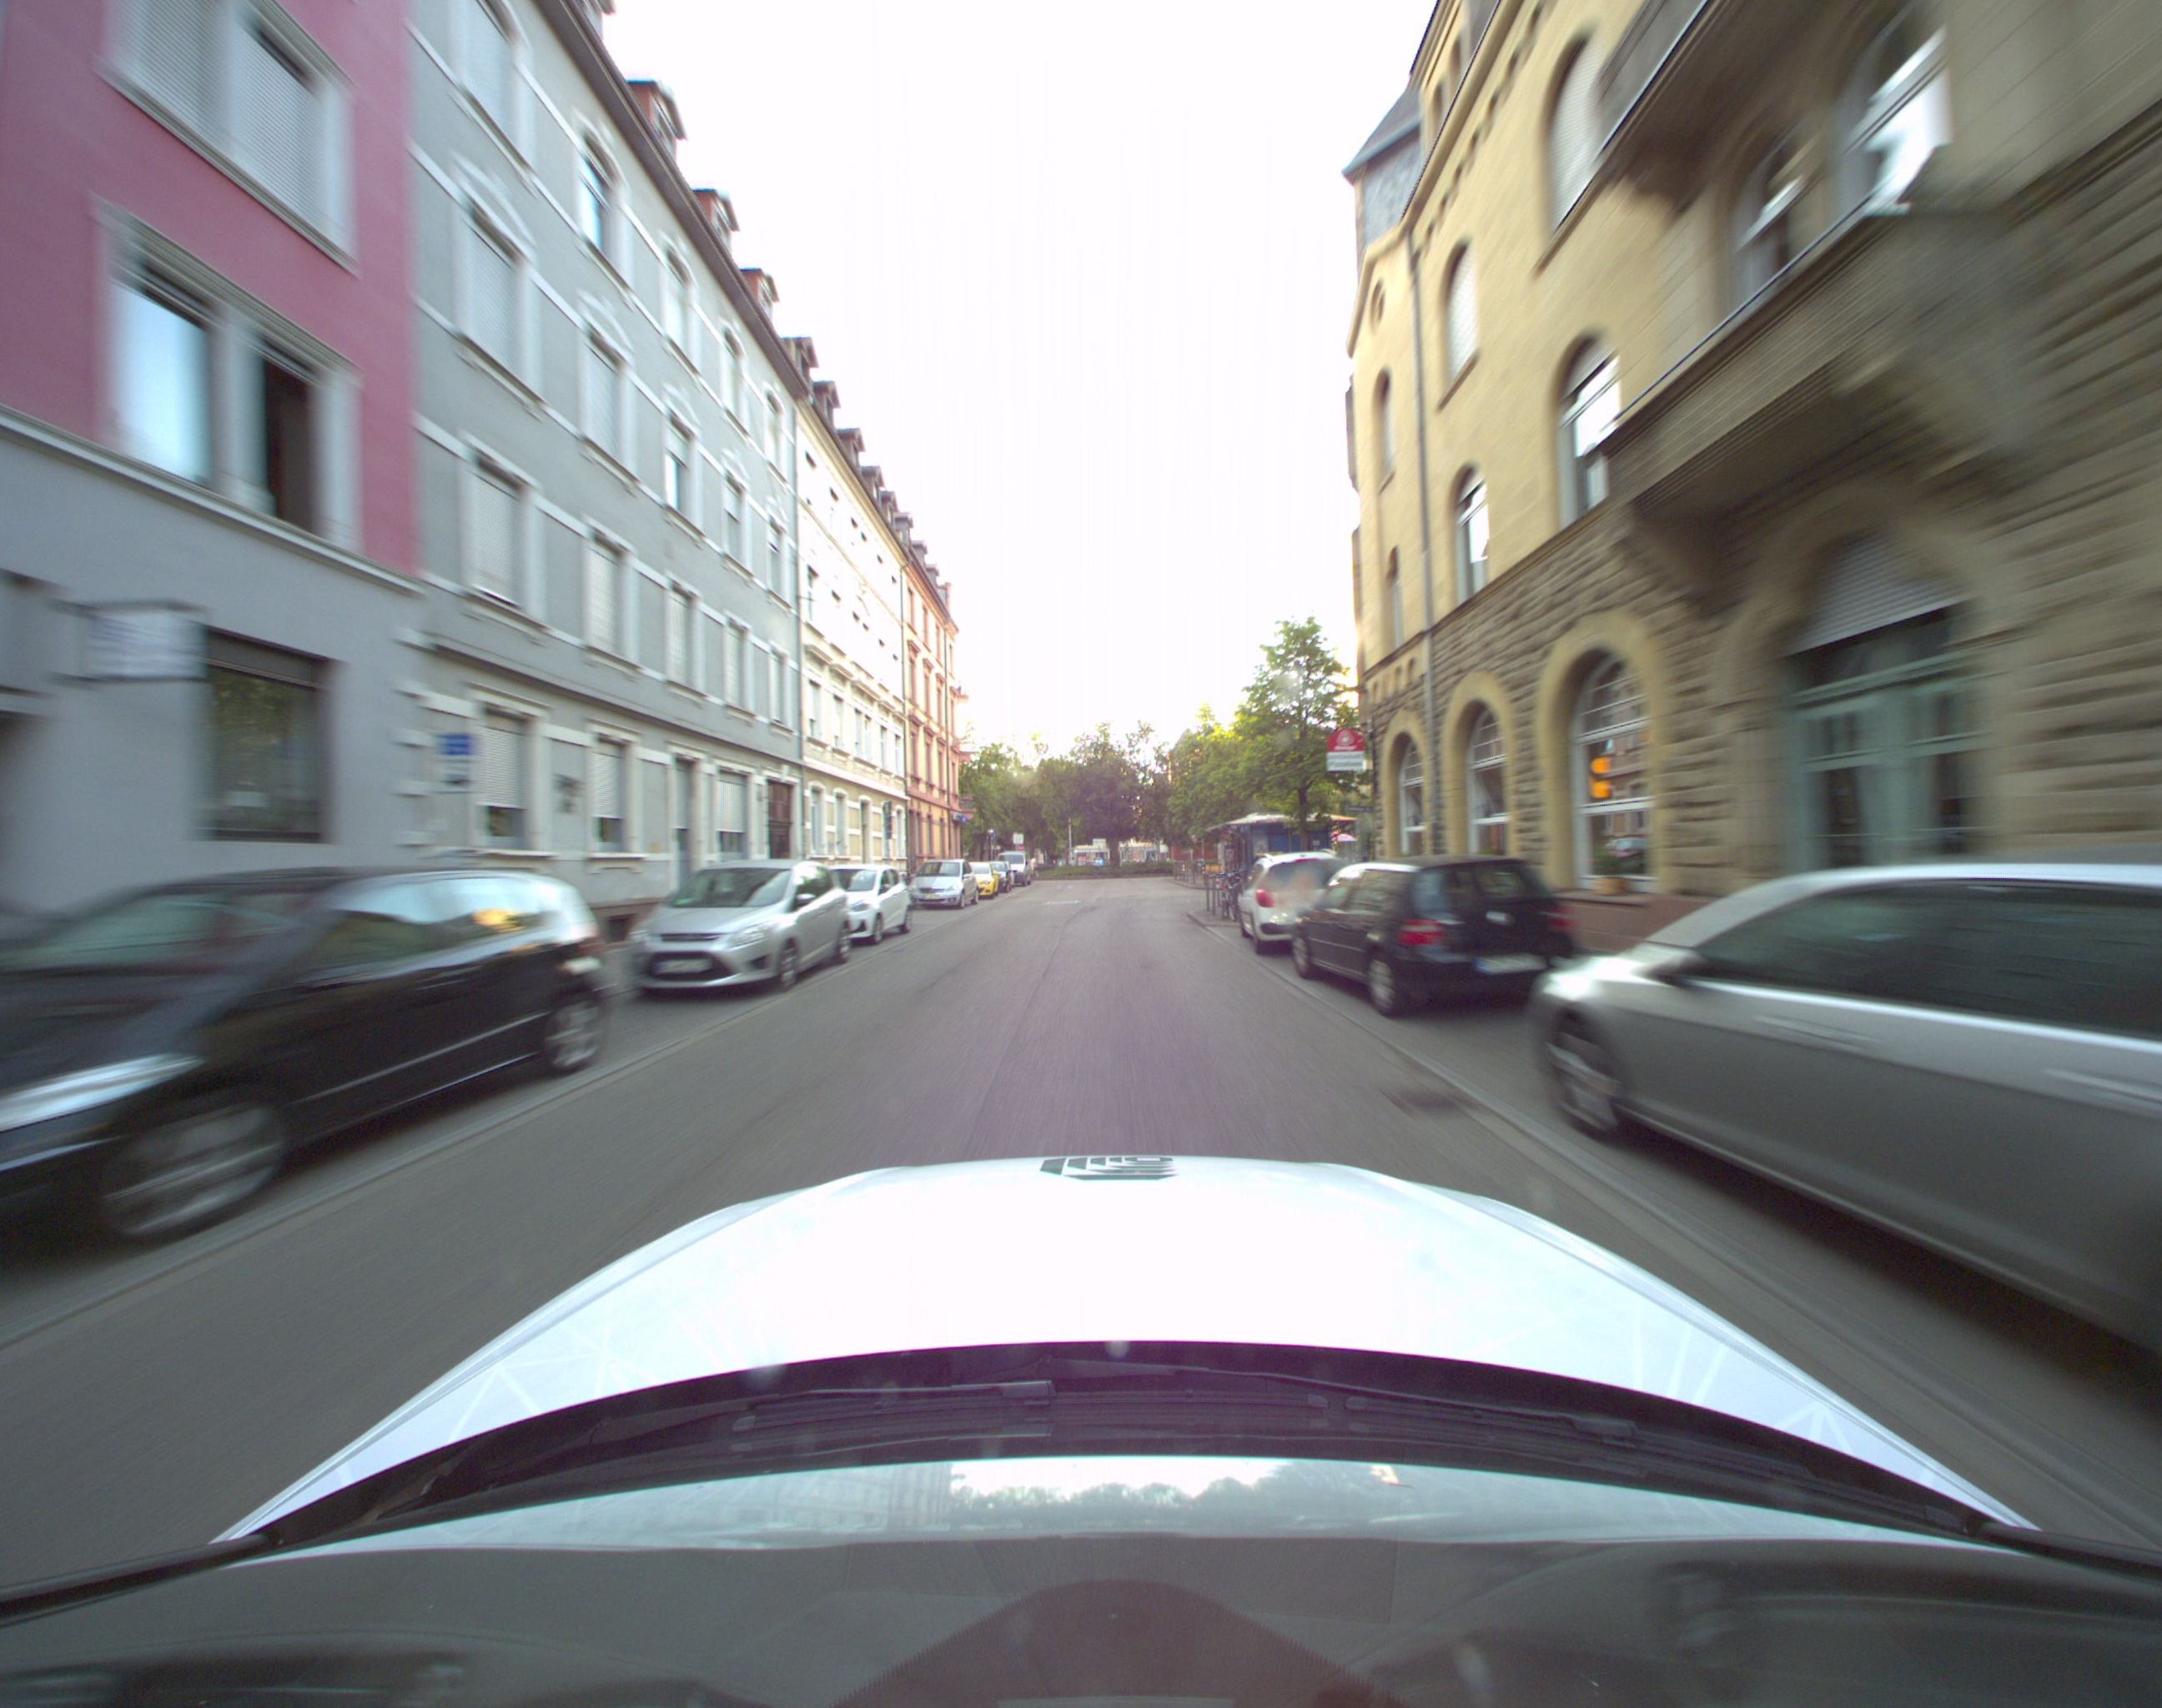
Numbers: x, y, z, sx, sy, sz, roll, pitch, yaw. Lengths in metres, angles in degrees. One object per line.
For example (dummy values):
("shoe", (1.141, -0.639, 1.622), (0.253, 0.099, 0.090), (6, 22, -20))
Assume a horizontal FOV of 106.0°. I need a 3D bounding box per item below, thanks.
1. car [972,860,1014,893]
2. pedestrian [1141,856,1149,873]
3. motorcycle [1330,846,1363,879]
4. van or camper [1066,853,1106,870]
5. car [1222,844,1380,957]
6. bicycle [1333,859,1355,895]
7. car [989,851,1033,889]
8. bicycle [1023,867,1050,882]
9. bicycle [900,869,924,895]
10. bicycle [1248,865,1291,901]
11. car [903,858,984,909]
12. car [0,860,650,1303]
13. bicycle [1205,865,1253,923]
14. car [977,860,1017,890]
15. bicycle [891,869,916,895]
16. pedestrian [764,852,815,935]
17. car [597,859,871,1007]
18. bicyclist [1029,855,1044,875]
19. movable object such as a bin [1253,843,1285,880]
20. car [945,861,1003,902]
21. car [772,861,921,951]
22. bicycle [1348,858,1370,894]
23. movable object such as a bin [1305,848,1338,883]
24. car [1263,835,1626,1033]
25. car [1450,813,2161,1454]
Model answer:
("car", (-4.174, 1.038, 39.023), (1.725, 1.491, 3.738), (0, -1, -3))
("pedestrian", (5.492, 0.919, 69.802), (0.614, 1.431, 0.656), (-2, -1, 2))
("motorcycle", (11.943, 0.372, 36.712), (0.864, 1.453, 1.883), (-2, 0, 2))
("van or camper", (0.875, 1.345, 149.839), (7.349, 3.083, 2.670), (-1, -1, -4))
("car", (3.530, 0.668, 13.881), (1.755, 1.484, 4.470), (-5, 0, 5))
("bicycle", (8.214, 0.704, 25.486), (0.508, 1.067, 1.841), (-2, -1, 14))
("car", (-4.039, 0.910, 47.813), (2.033, 2.057, 5.006), (0, -1, 2))
("bicycle", (-3.326, 1.531, 61.169), (1.814, 1.070, 0.712), (-2, -1, 17))
("bicycle", (-7.566, 1.240, 36.561), (0.660, 1.070, 1.834), (-2, 0, -1))
("bicycle", (5.799, 0.892, 25.001), (1.483, 1.039, 0.427), (-1, -1, -40))
("car", (-4.483, 0.916, 27.124), (1.792, 1.593, 4.148), (0, 0, 3))
("car", (-4.629, 0.836, 4.978), (1.747, 1.593, 4.058), (0, 0, 1))
("bicycle", (3.307, 0.857, 18.375), (0.681, 1.151, 2.116), (-5, 0, 2))
("car", (-4.385, 1.077, 42.998), (1.678, 1.491, 3.613), (0, -1, 0))
("bicycle", (-7.552, 1.179, 34.794), (0.660, 1.070, 1.834), (-2, 0, -1))
("pedestrian", (-7.115, 0.953, 19.905), (0.845, 1.949, 0.834), (-2, -1, 4))
("car", (-4.373, 0.870, 11.195), (1.827, 1.593, 4.670), (0, 0, -1))
("bicyclist", (-3.336, 0.836, 61.179), (0.909, 1.502, 0.712), (-2, -1, 17))
("movable object such as a bin", (8.250, 0.328, 35.805), (1.214, 1.475, 0.768), (-5, -1, 10))
("car", (-4.321, 1.073, 33.572), (1.833, 1.526, 4.799), (0, 0, -1))
("car", (-4.540, 0.935, 16.358), (1.746, 1.576, 3.928), (0, 0, 1))
("bicycle", (8.759, 0.676, 25.678), (0.471, 1.070, 1.841), (-2, -1, 14))
("movable object such as a bin", (10.527, 0.506, 35.710), (1.273, 1.475, 0.822), (2, 0, 10))
("car", (3.524, 0.676, 9.012), (1.759, 1.484, 4.553), (-5, 0, -2))
("car", (3.412, 0.637, 3.255), (1.758, 1.484, 4.556), (-4, 0, 0))
